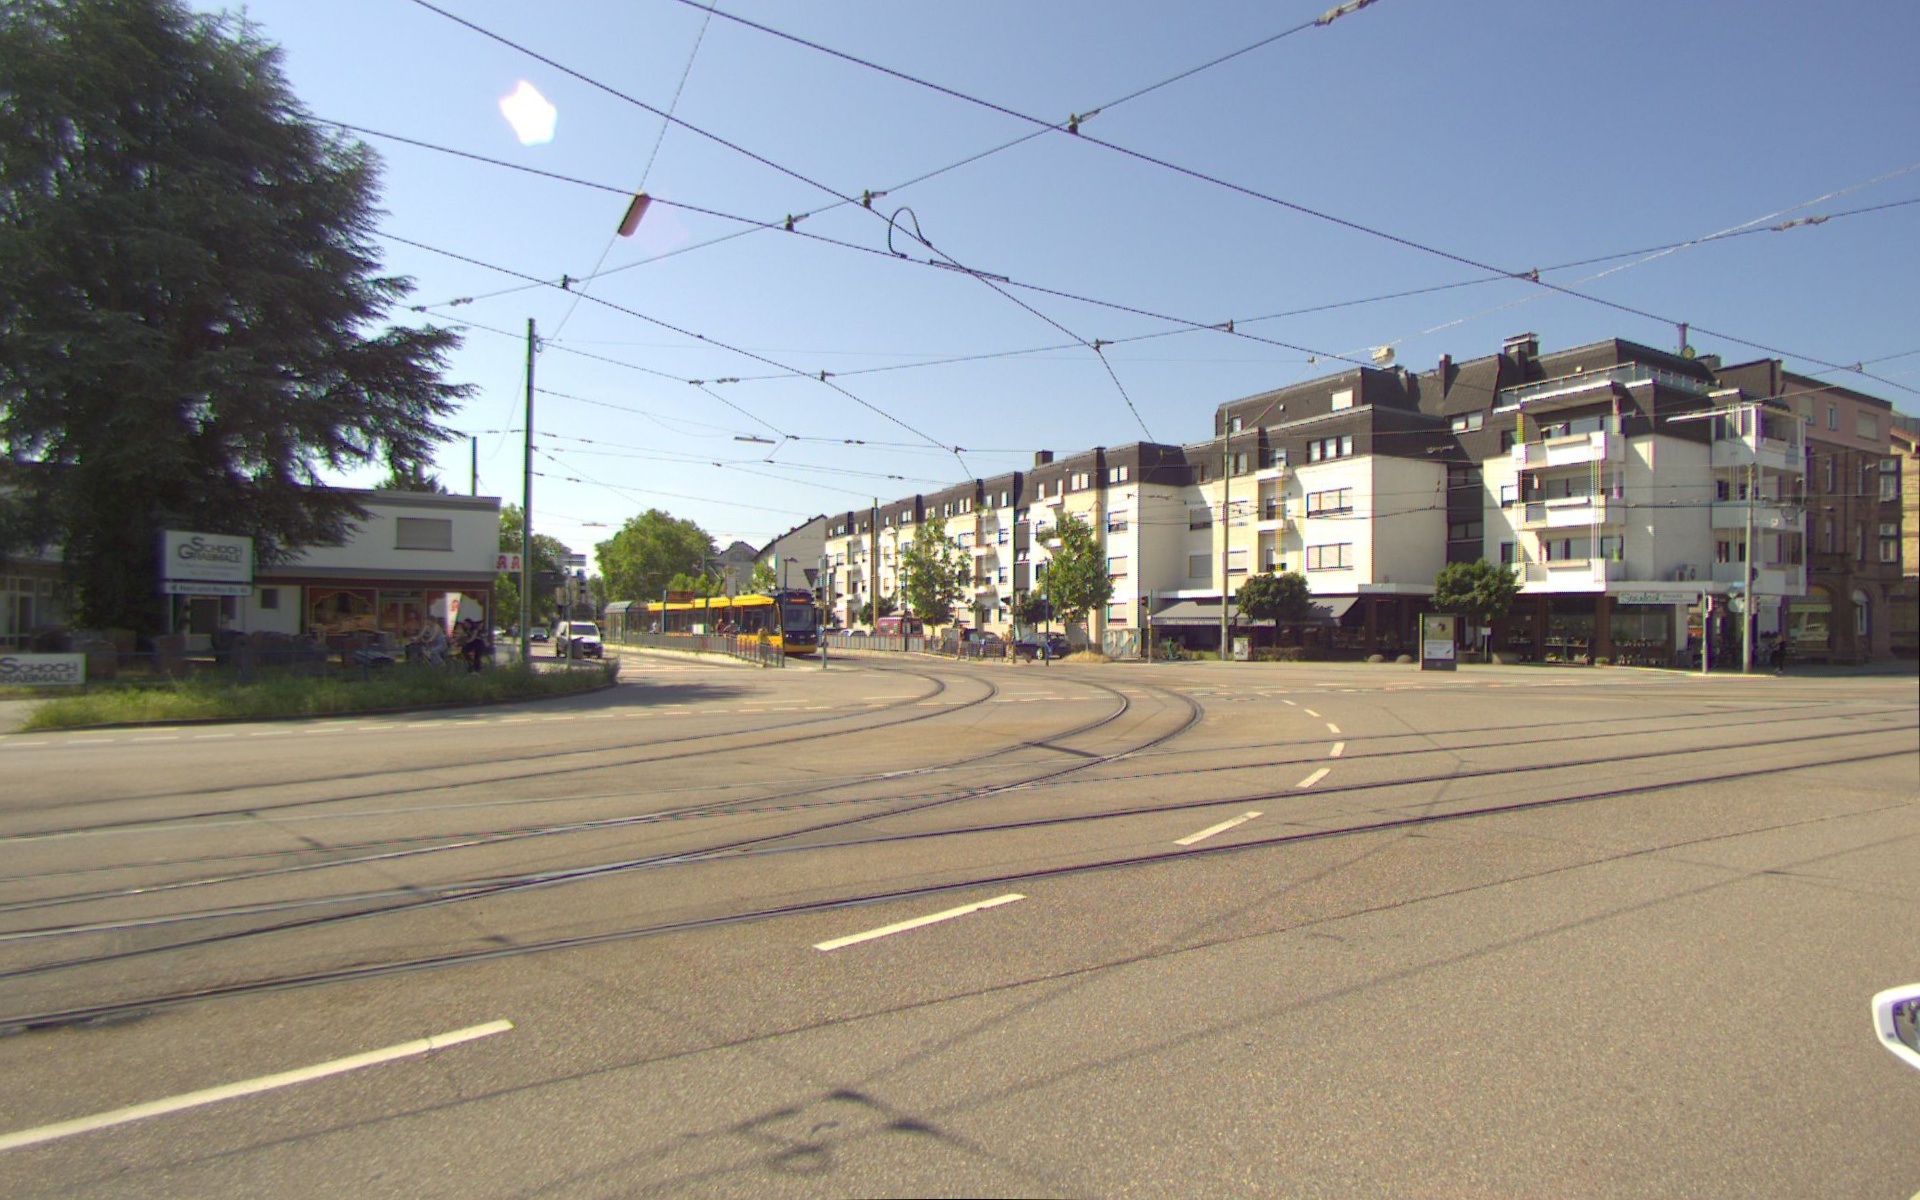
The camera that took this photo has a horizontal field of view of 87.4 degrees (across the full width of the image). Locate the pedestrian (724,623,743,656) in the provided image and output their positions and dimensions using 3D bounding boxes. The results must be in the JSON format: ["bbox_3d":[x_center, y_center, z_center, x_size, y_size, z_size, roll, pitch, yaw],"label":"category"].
[{"bbox_3d":[-11.629,2.022,51.566,0.775,1.648,0.655,1,-2,-29],"label":"pedestrian"}]

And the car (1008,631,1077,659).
[{"bbox_3d":[4.519,2.460,55.687,1.807,1.520,4.153,1,-2,-30],"label":"car"}]

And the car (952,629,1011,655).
[{"bbox_3d":[1.280,2.557,61.039,1.807,1.520,3.969,1,-2,-30],"label":"car"}]

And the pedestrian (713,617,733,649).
[{"bbox_3d":[-12.663,1.775,53.666,0.804,1.702,1.086,1,-2,-29],"label":"pedestrian"}]

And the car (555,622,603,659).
[{"bbox_3d":[-20.539,2.152,54.100,1.755,1.886,4.625,1,-2,-29],"label":"car"}]

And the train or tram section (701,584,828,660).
[{"bbox_3d":[-11.251,1.276,56.065,2.736,3.706,13.802,1,-2,-29],"label":"train or tram section"}]

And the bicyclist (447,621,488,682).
[{"bbox_3d":[-13.187,1.379,26.923,0.619,1.595,0.766,0,-2,15],"label":"bicyclist"}]

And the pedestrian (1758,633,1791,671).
[{"bbox_3d":[35.548,2.261,43.849,0.670,1.669,0.878,1,-2,-17],"label":"pedestrian"}]

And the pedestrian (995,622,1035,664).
[{"bbox_3d":[2.491,1.955,45.655,1.115,1.860,1.421,2,-2,-43],"label":"pedestrian"}]

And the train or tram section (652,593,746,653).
[{"bbox_3d":[-17.972,1.603,68.117,2.736,3.706,13.802,1,-2,-29],"label":"train or tram section"}]

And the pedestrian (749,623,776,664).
[{"bbox_3d":[-9.053,1.982,45.933,0.886,1.862,1.193,1,-2,-29],"label":"pedestrian"}]

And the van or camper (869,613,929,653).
[{"bbox_3d":[-4.344,2.332,71.017,2.348,2.659,4.852,1,-2,-30],"label":"van or camper"}]

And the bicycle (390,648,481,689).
[{"bbox_3d":[-12.807,1.668,24.615,0.525,0.959,2.136,0,-3,21],"label":"bicycle"}]

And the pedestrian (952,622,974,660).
[{"bbox_3d":[0.157,1.973,48.379,0.755,1.783,0.804,1,-2,-33],"label":"pedestrian"}]

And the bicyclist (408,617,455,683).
[{"bbox_3d":[-12.879,1.228,24.480,0.619,1.578,0.766,-1,-3,22],"label":"bicyclist"}]

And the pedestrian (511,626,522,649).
[{"bbox_3d":[-39.263,3.286,88.824,0.760,1.991,0.855,1,-2,-32],"label":"pedestrian"}]

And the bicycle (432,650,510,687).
[{"bbox_3d":[-13.120,1.826,27.042,0.564,0.902,2.137,0,-2,17],"label":"bicycle"}]
